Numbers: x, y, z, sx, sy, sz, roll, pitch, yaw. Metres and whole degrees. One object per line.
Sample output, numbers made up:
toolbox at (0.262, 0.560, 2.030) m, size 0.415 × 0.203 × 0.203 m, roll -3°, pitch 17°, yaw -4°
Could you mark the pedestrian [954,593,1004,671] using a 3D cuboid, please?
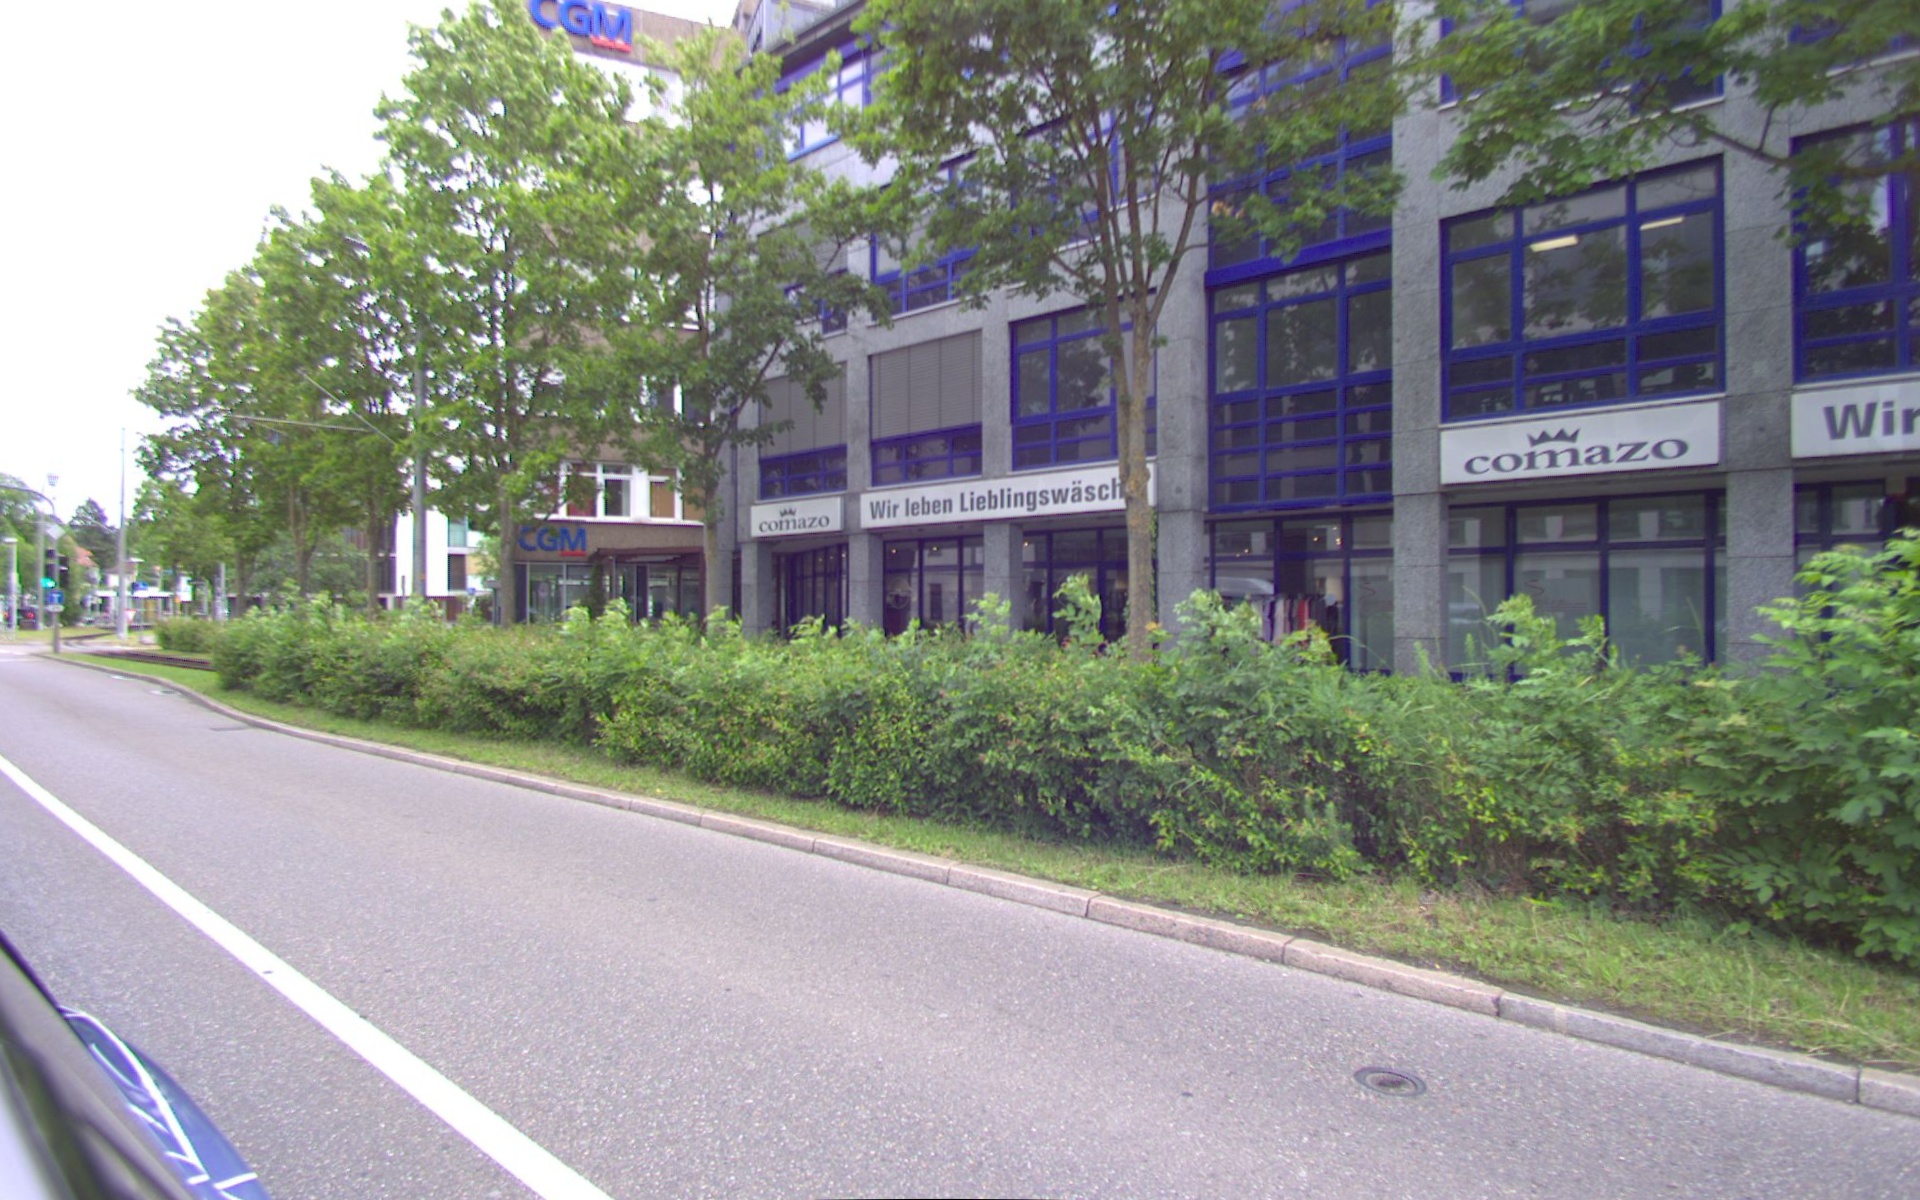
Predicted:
pedestrian at (0.370, 0.626, 20.099) m, size 0.679 × 1.493 × 0.690 m, roll -1°, pitch 0°, yaw 41°
